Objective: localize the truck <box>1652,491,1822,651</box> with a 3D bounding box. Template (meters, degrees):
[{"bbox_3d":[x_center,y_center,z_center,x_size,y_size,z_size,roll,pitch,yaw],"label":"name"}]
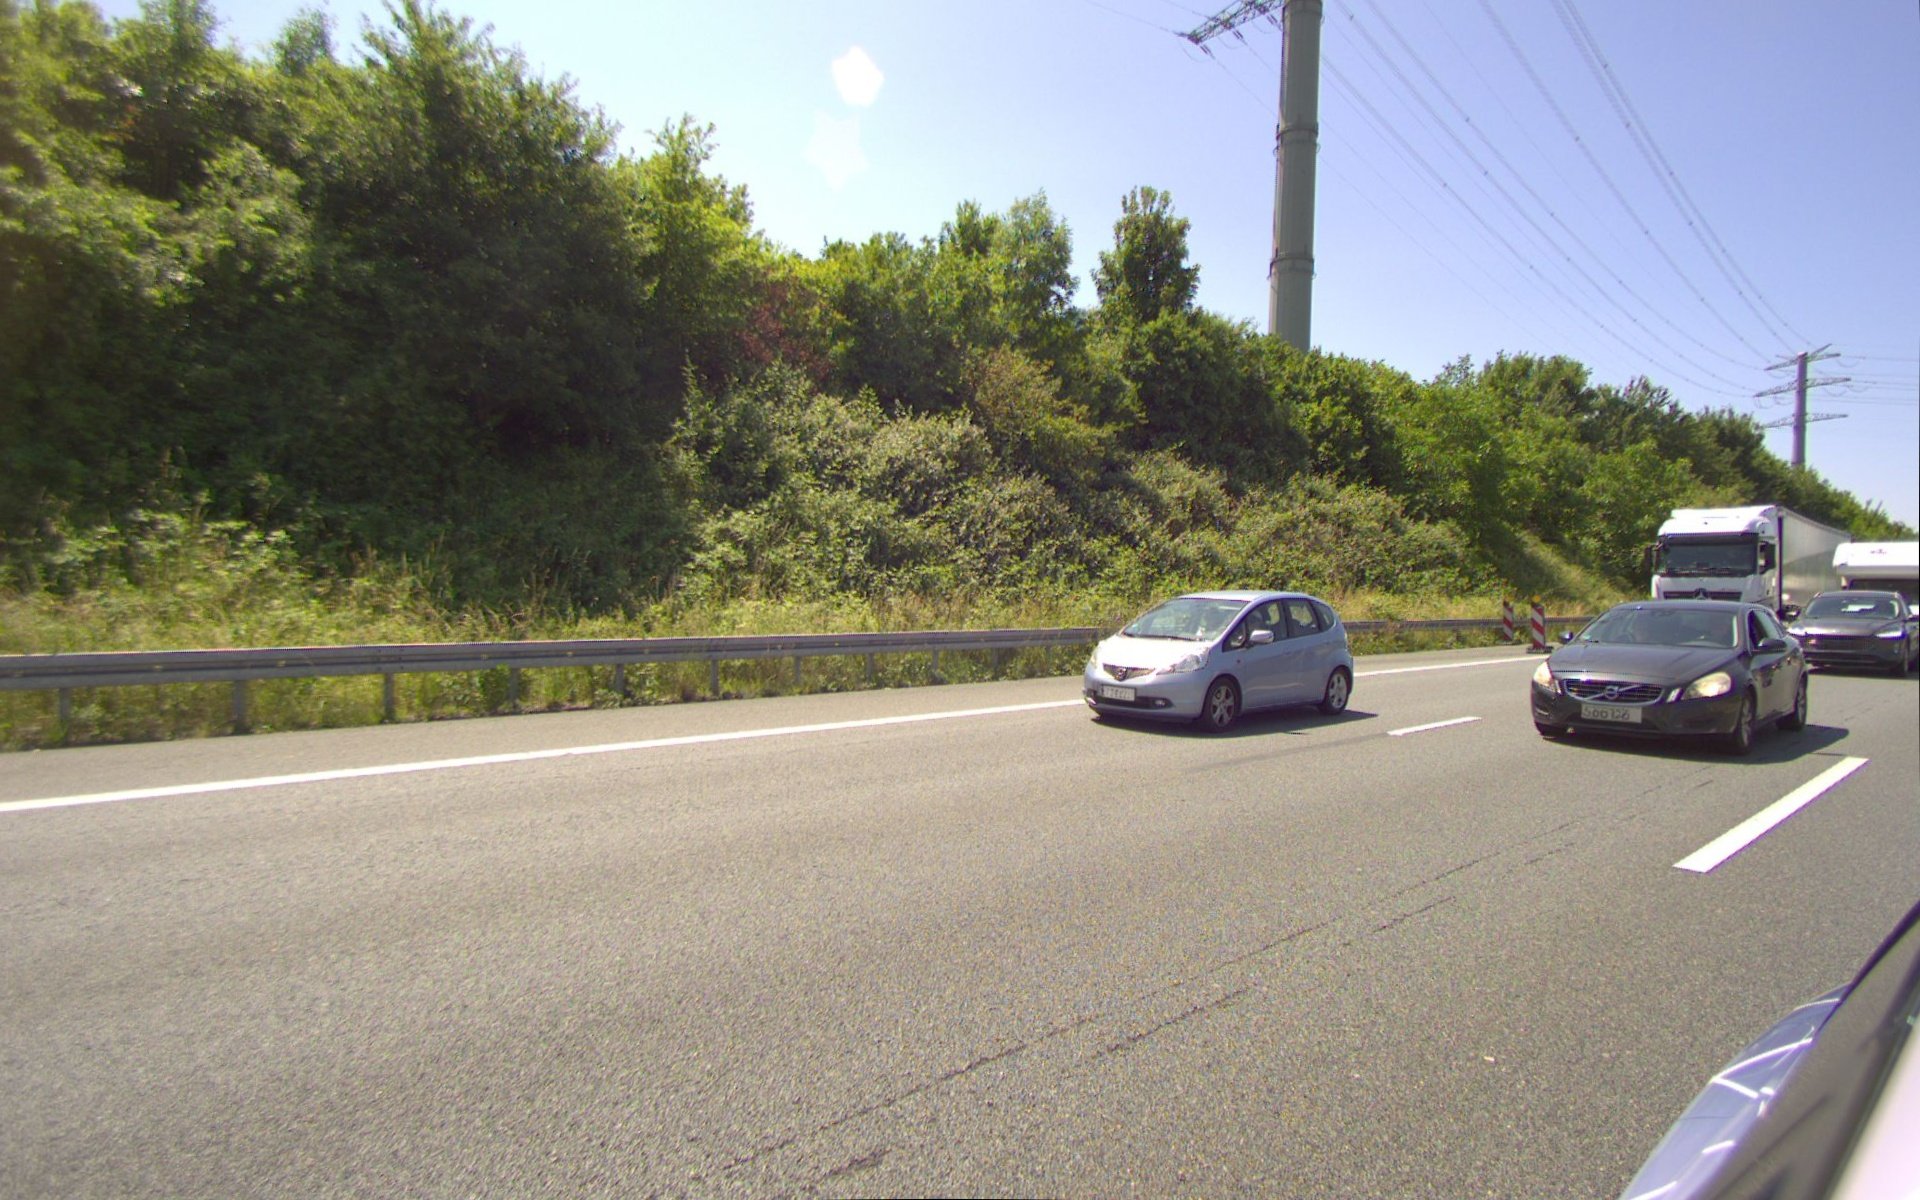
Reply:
[{"bbox_3d":[22.163,-0.767,28.783,5.692,4.098,2.738,-1,0,-41],"label":"truck"}]

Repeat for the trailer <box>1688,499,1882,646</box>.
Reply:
[{"bbox_3d":[27.553,-0.838,33.430,12.882,4.098,2.788,-1,0,-41],"label":"trailer"}]

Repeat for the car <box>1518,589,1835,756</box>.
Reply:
[{"bbox_3d":[7.873,0.614,10.957,4.431,1.437,1.798,-1,0,-41],"label":"car"}]

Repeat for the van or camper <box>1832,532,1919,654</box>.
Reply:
[{"bbox_3d":[26.706,-0.206,28.353,7.499,3.082,2.373,-1,0,-41],"label":"van or camper"}]

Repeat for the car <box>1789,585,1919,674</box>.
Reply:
[{"bbox_3d":[18.532,0.515,20.591,4.146,1.631,1.892,-1,0,-41],"label":"car"}]

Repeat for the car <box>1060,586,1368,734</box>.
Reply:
[{"bbox_3d":[3.081,0.573,11.920,3.721,1.466,1.704,-1,0,-41],"label":"car"}]
